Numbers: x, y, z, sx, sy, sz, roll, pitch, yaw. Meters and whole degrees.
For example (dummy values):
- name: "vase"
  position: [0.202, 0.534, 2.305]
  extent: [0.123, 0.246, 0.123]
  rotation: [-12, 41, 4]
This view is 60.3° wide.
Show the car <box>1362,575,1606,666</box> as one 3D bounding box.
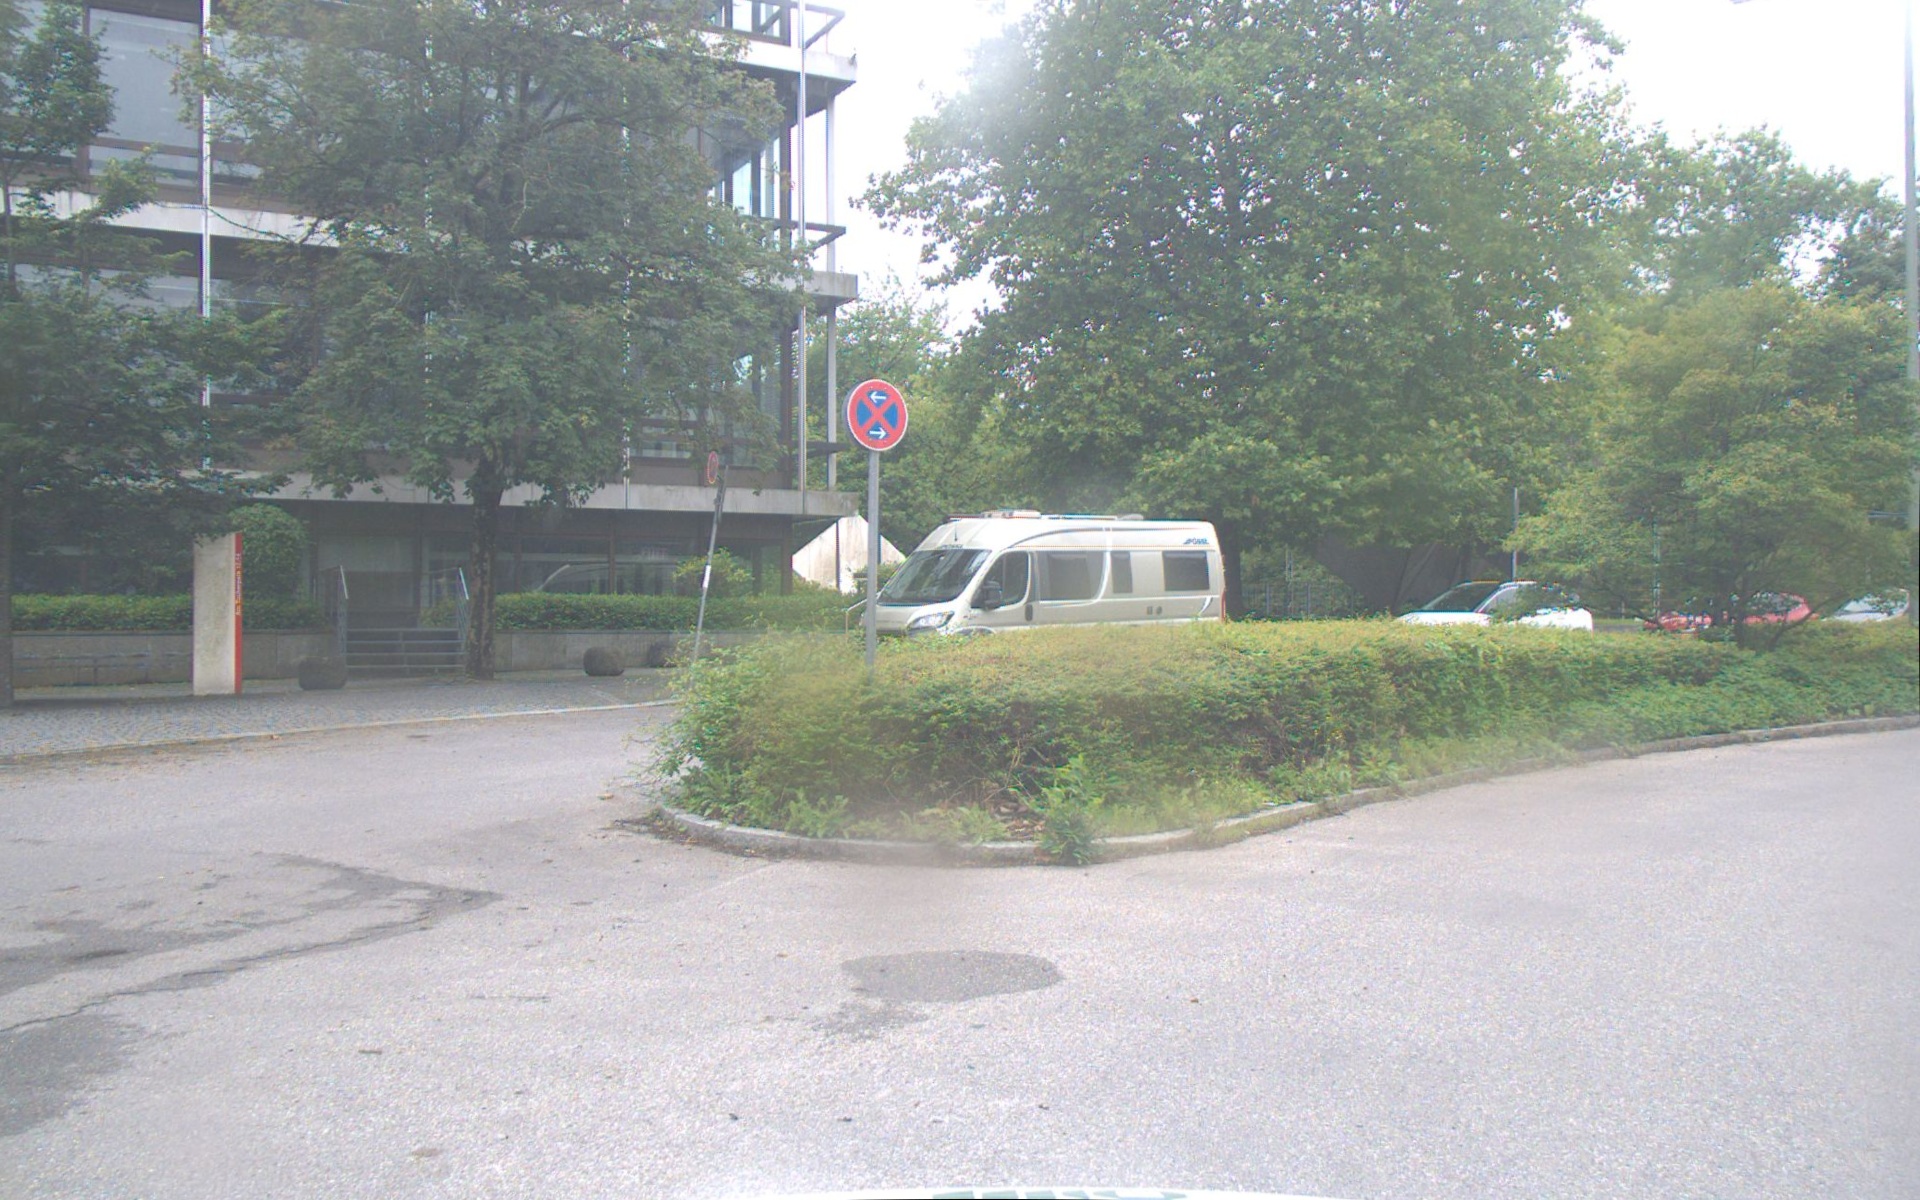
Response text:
- name: "car"
  position: [9.366, 0.336, 29.560]
  extent: [3.940, 1.534, 1.983]
  rotation: [0, 0, -27]

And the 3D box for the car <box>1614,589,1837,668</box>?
- name: "car"
  position: [14.980, 0.524, 32.367]
  extent: [3.940, 1.434, 1.983]
  rotation: [0, 0, -27]

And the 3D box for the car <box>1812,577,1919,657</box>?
- name: "car"
  position: [20.252, 0.329, 35.071]
  extent: [3.940, 1.602, 1.983]
  rotation: [0, 0, -27]

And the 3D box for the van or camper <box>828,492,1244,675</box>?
- name: "van or camper"
  position: [1.267, -0.201, 23.984]
  extent: [6.364, 2.321, 2.220]
  rotation: [0, 0, -42]
